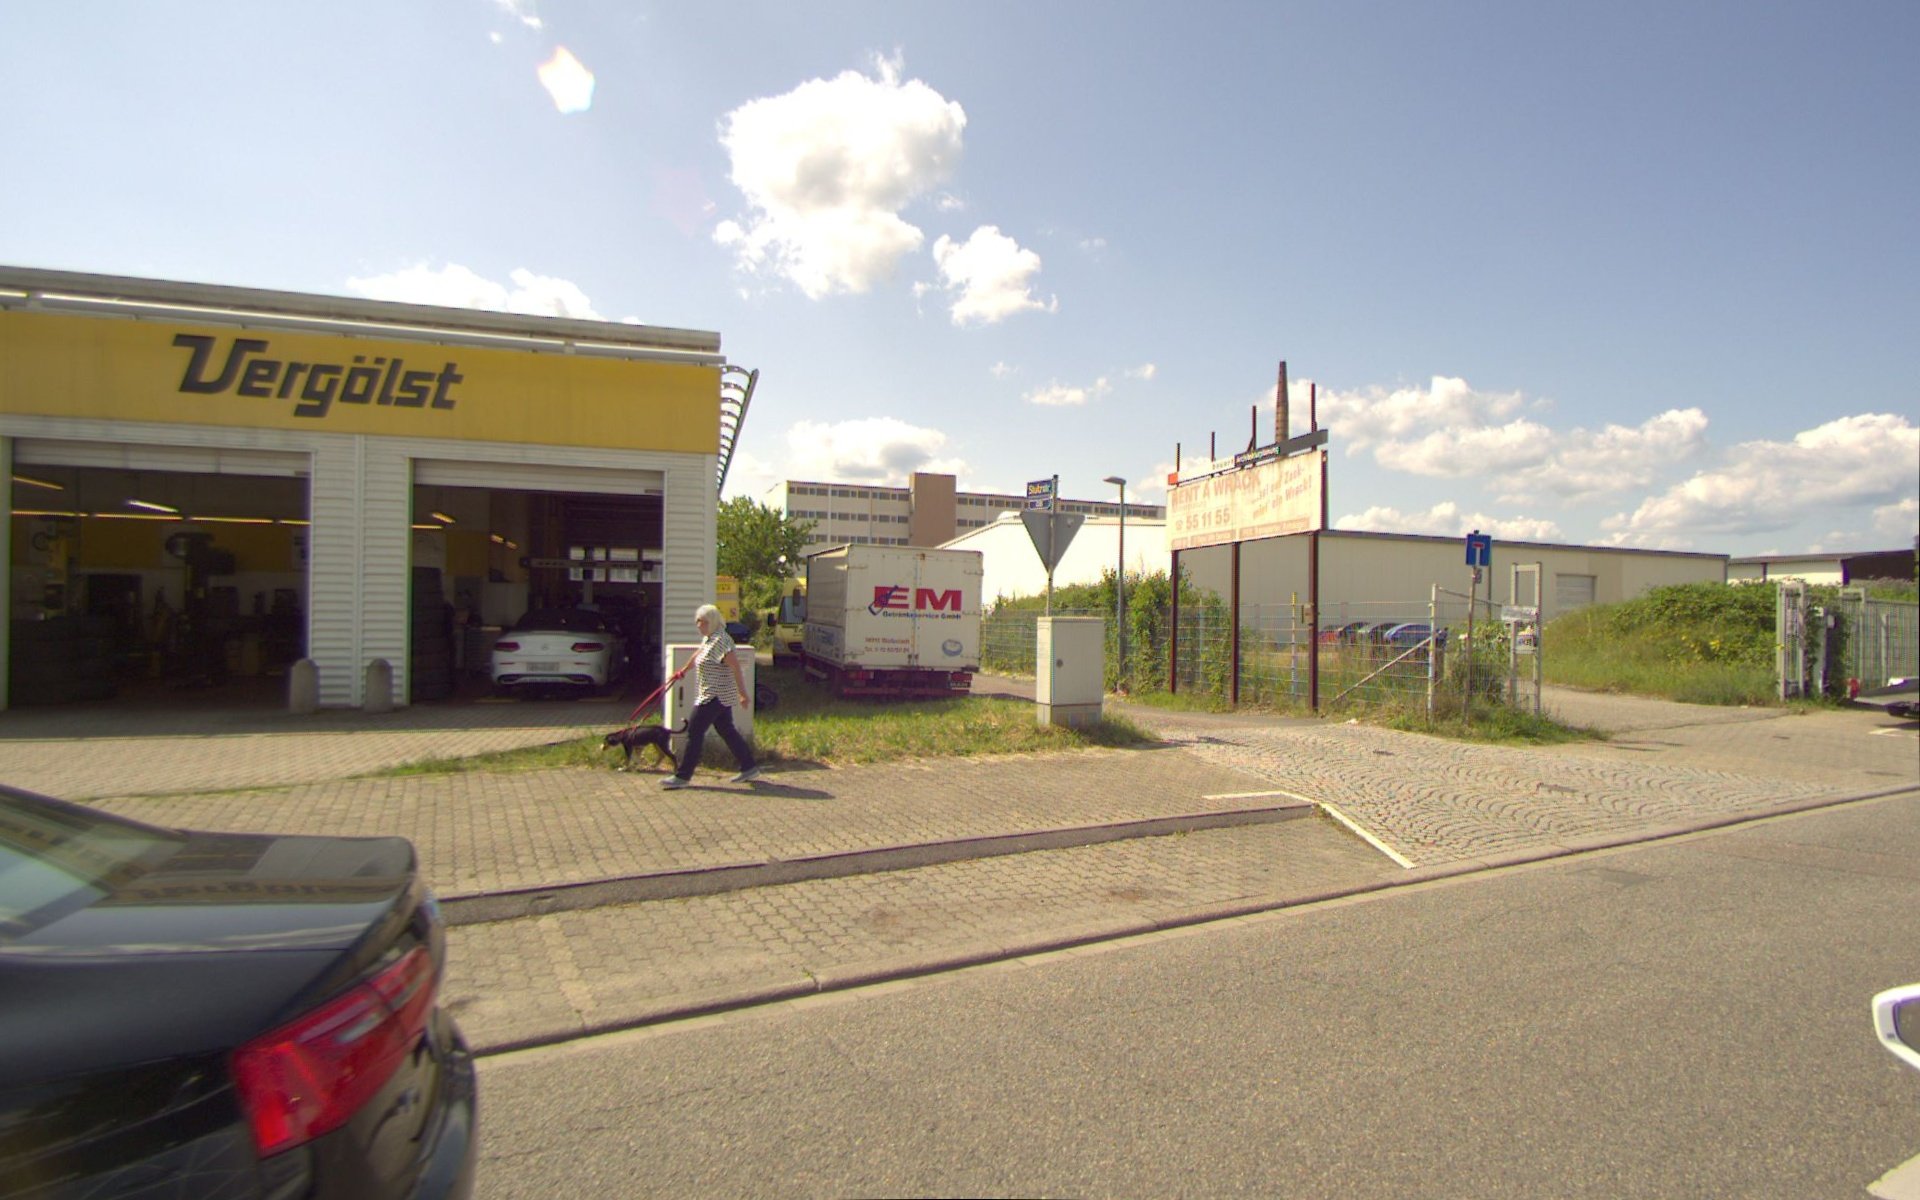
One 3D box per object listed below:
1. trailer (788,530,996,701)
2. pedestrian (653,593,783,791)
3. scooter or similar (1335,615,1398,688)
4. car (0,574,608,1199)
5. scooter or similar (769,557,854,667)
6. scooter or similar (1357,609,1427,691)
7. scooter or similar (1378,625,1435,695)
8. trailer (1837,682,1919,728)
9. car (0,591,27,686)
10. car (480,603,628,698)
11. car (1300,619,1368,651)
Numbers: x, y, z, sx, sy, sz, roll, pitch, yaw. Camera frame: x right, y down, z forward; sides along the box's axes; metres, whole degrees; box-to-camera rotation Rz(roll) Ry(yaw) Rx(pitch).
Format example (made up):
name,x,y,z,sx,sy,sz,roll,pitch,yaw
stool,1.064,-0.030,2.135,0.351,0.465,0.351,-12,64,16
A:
name,x,y,z,sx,sy,sz,roll,pitch,yaw
trailer,-1.659,0.313,20.513,2.715,2.890,6.512,1,-1,-18
pedestrian,-2.037,0.736,8.427,0.906,1.566,0.657,1,-1,-28
scooter or similar,9.098,1.119,22.552,1.147,1.558,1.450,1,-1,17
car,-2.783,0.718,1.126,4.259,1.457,1.777,2,-4,-31
scooter or similar,-3.967,0.331,26.744,1.964,2.588,5.477,1,-1,-9
scooter or similar,8.892,1.008,20.726,1.147,1.608,1.320,1,0,17
scooter or similar,8.578,1.138,19.322,0.864,1.292,0.898,1,0,17
trailer,16.465,1.699,16.232,4.393,0.559,2.224,1,-1,-31
car,-15.218,0.560,14.025,1.761,1.456,3.571,1,-1,-16
car,-6.802,0.790,17.238,1.946,1.419,3.986,1,-1,-17
car,19.562,1.789,52.709,1.961,1.554,3.999,1,-1,-2
